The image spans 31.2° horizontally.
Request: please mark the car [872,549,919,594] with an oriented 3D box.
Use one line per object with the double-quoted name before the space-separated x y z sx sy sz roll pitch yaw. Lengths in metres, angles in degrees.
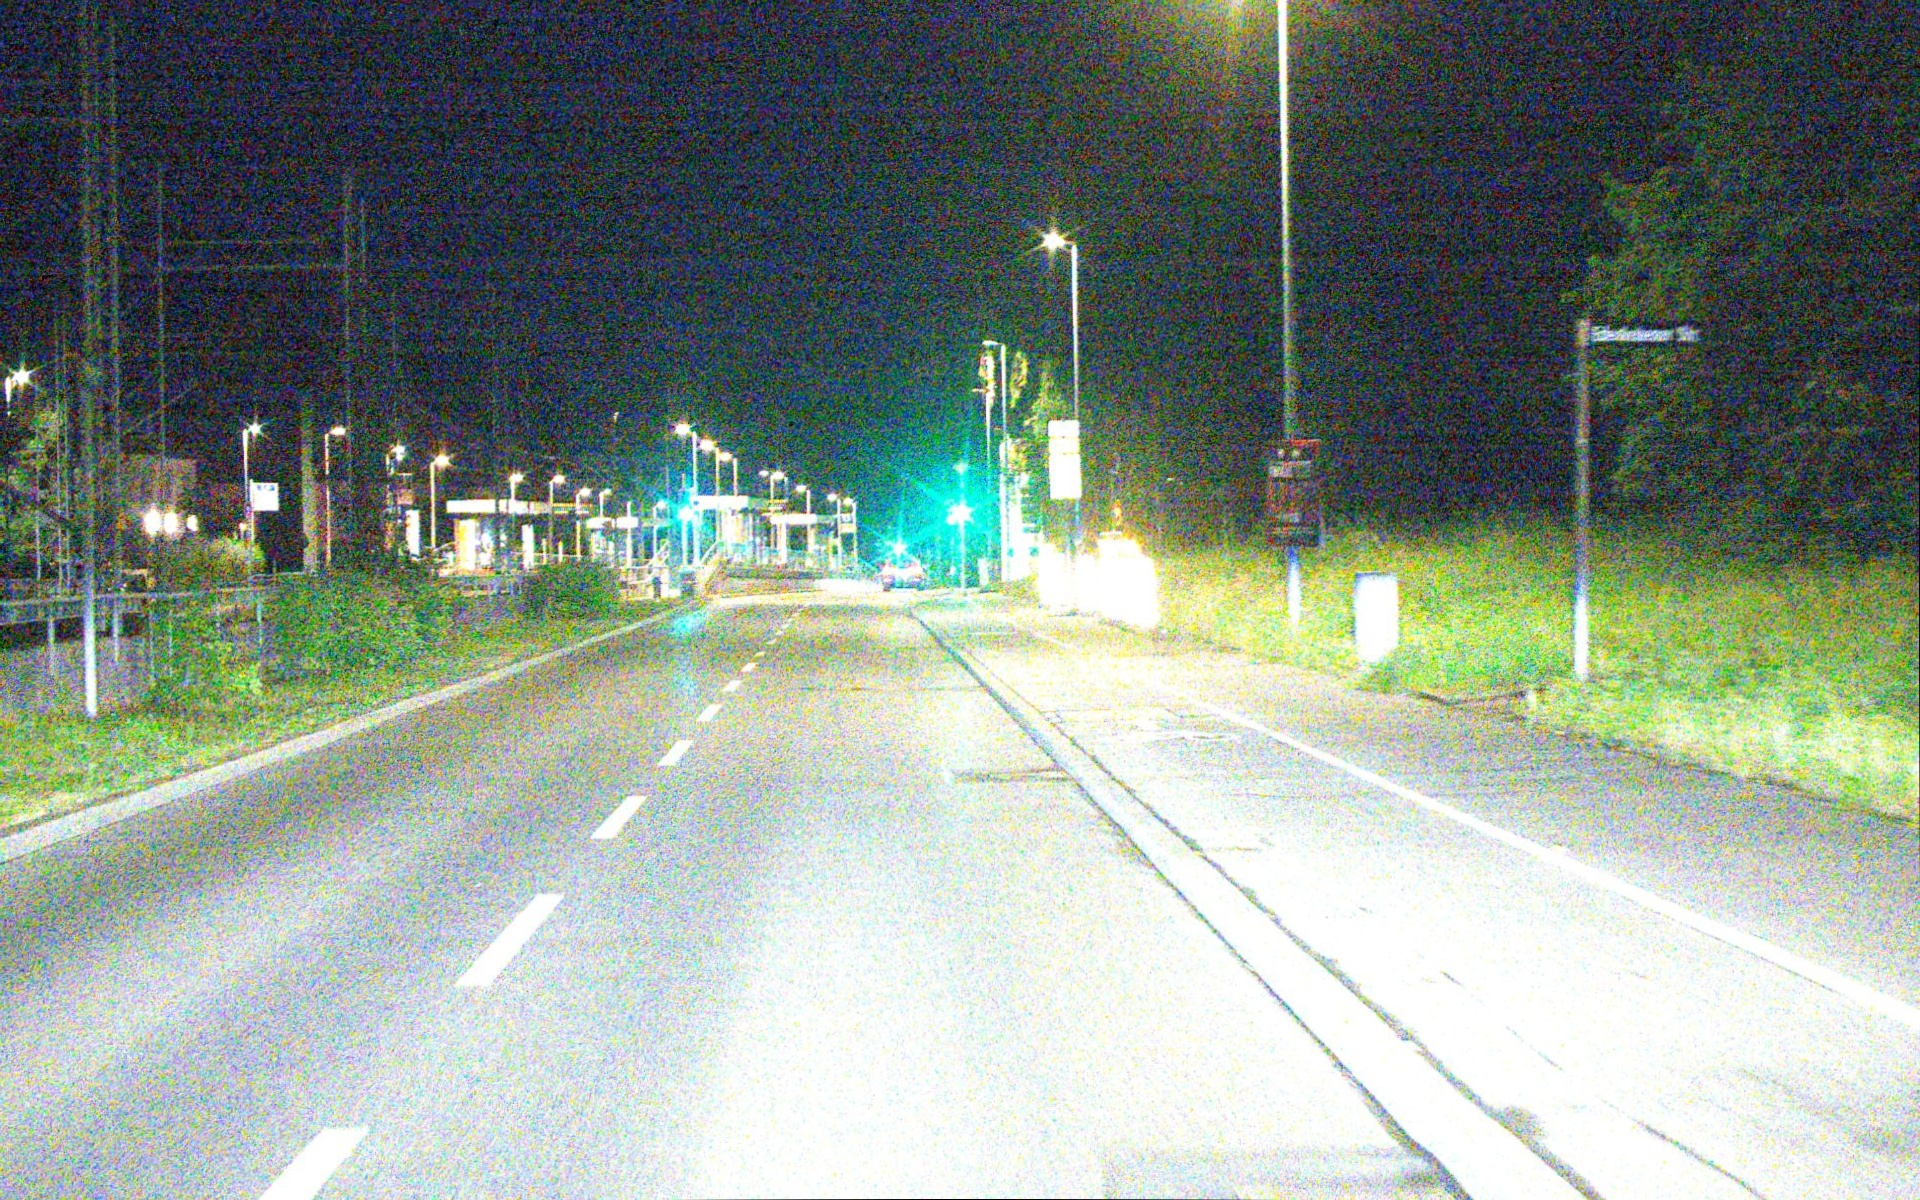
"car" -2.969 -1.319 159.412 2.087 2.007 4.000 -1 1 -1
